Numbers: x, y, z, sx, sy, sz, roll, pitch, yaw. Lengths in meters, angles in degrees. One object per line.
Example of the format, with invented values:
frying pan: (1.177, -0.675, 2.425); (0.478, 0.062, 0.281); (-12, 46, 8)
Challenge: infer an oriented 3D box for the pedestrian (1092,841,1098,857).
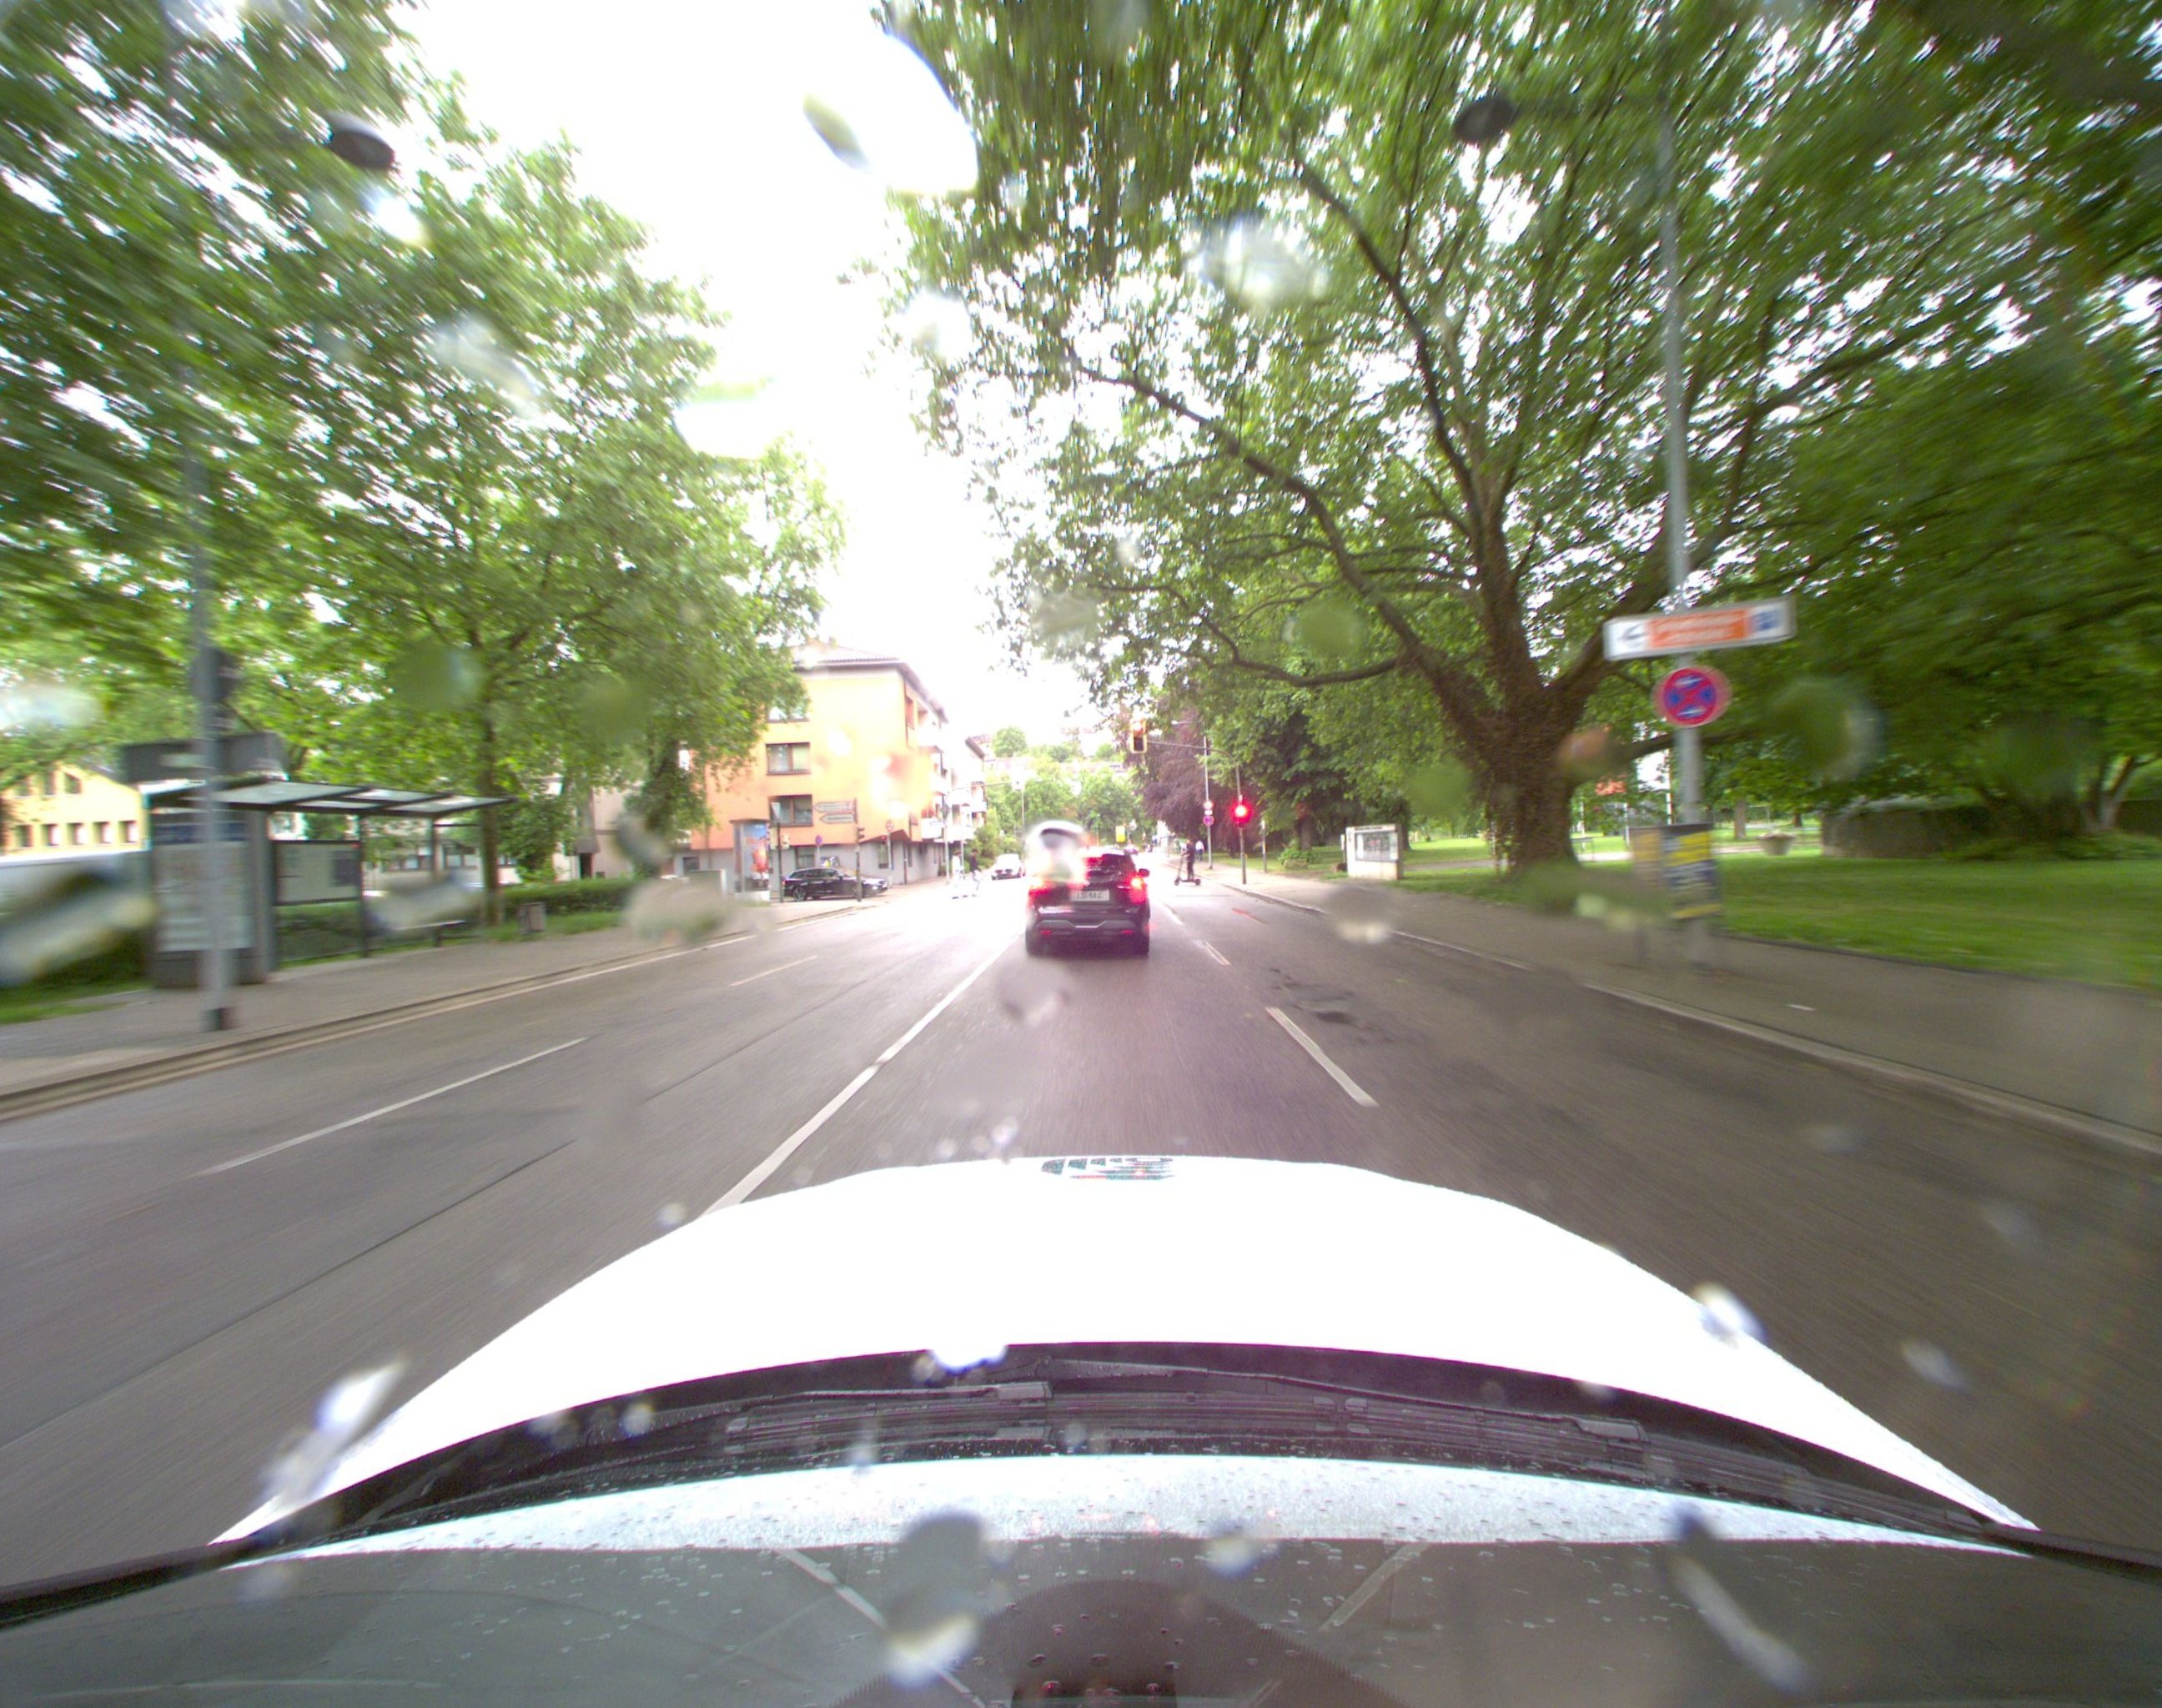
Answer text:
pedestrian: (1.598, -0.588, 91.953); (0.507, 1.802, 0.619); (-3, 0, -2)

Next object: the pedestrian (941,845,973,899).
pedestrian: (-4.512, 0.650, 29.699); (1.035, 1.876, 0.656); (-4, 0, -9)

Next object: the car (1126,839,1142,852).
car: (7.310, -1.106, 111.329); (1.983, 1.735, 4.007); (0, 0, 7)

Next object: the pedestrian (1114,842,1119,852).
pedestrian: (6.319, -1.227, 144.514); (0.503, 1.673, 0.663); (-3, 0, 29)

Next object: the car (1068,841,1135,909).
car: (0.611, 0.562, 23.761); (1.692, 1.745, 3.642); (-3, 0, 2)

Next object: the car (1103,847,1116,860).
car: (3.717, -0.070, 107.904); (1.628, 1.532, 3.969); (-3, 0, 2)

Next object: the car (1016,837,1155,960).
car: (0.132, 0.609, 13.303); (1.906, 1.680, 4.002); (-1, 0, 2)

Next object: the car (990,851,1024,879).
car: (-4.540, 0.645, 50.533); (1.791, 1.533, 3.865); (-3, 0, -2)

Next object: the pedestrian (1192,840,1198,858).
pedestrian: (9.767, -0.433, 69.893); (0.388, 1.502, 0.559); (-3, 0, 2)

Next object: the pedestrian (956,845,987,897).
pedestrian: (-4.109, 0.635, 30.630); (1.035, 1.876, 0.656); (-4, 0, -9)

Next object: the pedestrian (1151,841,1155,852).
pedestrian: (12.418, -1.306, 140.499); (0.506, 1.802, 0.620); (-3, 0, 1)

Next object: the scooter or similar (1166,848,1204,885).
scooter or similar: (4.315, 0.527, 33.727); (1.384, 1.446, 0.820); (-2, -1, 14)

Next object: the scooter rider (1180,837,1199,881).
scooter rider: (4.497, 0.212, 33.708); (0.638, 1.766, 0.738); (-2, -1, 14)

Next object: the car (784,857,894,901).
car: (-10.470, 1.071, 35.452); (4.106, 1.625, 1.854); (-3, 0, 4)

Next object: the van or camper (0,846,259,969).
van or camper: (-17.943, 0.928, 14.420); (4.582, 1.949, 2.000); (-2, 0, -1)

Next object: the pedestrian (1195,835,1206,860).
pedestrian: (9.674, -0.545, 65.930); (0.722, 2.013, 0.852); (-3, 0, 2)
